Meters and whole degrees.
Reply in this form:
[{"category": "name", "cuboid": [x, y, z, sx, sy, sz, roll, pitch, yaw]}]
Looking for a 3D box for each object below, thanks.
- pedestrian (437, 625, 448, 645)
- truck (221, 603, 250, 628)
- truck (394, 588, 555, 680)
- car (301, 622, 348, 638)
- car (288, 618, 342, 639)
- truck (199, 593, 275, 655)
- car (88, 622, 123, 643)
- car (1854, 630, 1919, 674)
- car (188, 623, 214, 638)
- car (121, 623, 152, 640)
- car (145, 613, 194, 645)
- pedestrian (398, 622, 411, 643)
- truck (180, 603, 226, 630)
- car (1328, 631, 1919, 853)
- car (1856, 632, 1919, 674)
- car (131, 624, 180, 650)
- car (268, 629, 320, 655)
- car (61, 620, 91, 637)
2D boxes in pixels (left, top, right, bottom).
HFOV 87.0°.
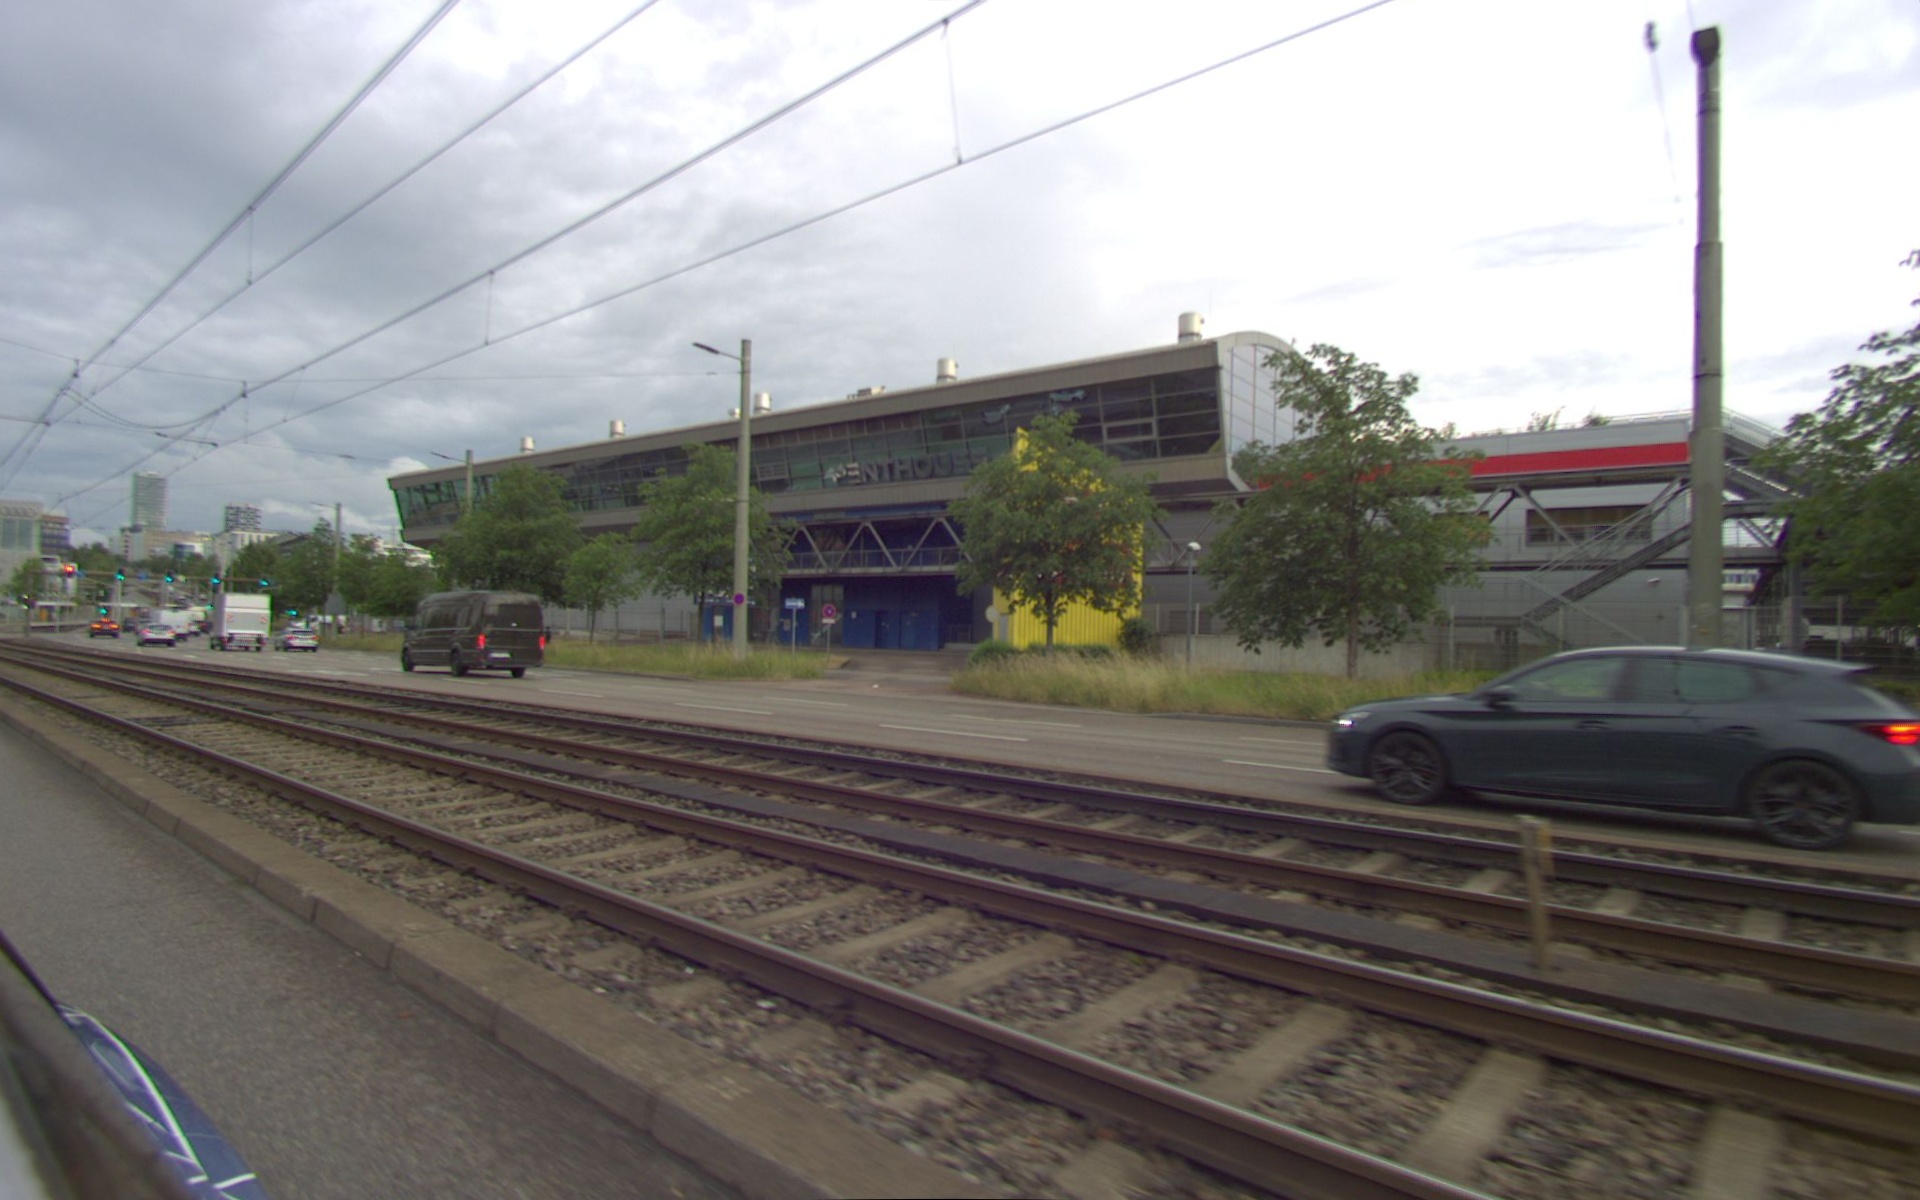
[{"category": "pedestrian", "cuboid": [-40.591, 2.765, 79.357, 0.758, 1.509, 0.542, -1, 0, 45]}, {"category": "truck", "cuboid": [-136.098, 2.959, 190.195, 3.213, 4.564, 7.114, 2, -2, -28]}, {"category": "truck", "cuboid": [-15.436, 1.064, 31.903, 7.017, 2.584, 2.213, -1, -4, 44]}, {"category": "car", "cuboid": [-73.338, 3.476, 116.816, 1.908, 1.729, 4.204, -1, -3, 34]}, {"category": "car", "cuboid": [-76.449, 3.374, 119.991, 1.992, 2.350, 5.011, -1, -3, 30]}, {"category": "truck", "cuboid": [-43.072, 1.458, 60.176, 2.694, 3.383, 7.160, 5, -4, -42]}, {"category": "car", "cuboid": [-74.186, 2.835, 87.797, 1.887, 1.669, 4.363, 5, -5, -45]}, {"category": "car", "cuboid": [45.532, 2.488, 48.454, 3.998, 2.029, 1.972, -1, -3, 41]}, {"category": "car", "cuboid": [-74.443, 2.958, 99.249, 1.726, 1.410, 4.005, 3, -3, -42]}, {"category": "car", "cuboid": [-81.967, 3.136, 100.751, 1.918, 1.684, 4.511, 4, -4, -45]}, {"category": "car", "cuboid": [-65.559, 2.411, 83.907, 2.404, 2.519, 6.552, 4, -4, -44]}, {"category": "pedestrian", "cuboid": [-42.879, 2.530, 78.159, 0.627, 1.575, 0.675, -1, 0, 42]}, {"category": "truck", "cuboid": [-108.791, 2.463, 145.596, 4.023, 3.785, 10.885, 2, -2, -30]}, {"category": "car", "cuboid": [5.509, 1.011, 8.490, 4.232, 1.440, 1.784, -1, -3, 40]}, {"category": "car", "cuboid": [47.281, 2.614, 50.356, 3.998, 2.029, 1.972, -1, -3, 41]}, {"category": "car", "cuboid": [-51.591, 2.354, 64.845, 4.442, 1.510, 1.785, -2, -5, 44]}, {"category": "car", "cuboid": [-41.638, 2.615, 63.254, 1.875, 1.500, 4.426, 3, -3, -44]}, {"category": "car", "cuboid": [-96.768, 3.136, 110.725, 4.678, 1.744, 1.971, -1, -4, 43]}]
